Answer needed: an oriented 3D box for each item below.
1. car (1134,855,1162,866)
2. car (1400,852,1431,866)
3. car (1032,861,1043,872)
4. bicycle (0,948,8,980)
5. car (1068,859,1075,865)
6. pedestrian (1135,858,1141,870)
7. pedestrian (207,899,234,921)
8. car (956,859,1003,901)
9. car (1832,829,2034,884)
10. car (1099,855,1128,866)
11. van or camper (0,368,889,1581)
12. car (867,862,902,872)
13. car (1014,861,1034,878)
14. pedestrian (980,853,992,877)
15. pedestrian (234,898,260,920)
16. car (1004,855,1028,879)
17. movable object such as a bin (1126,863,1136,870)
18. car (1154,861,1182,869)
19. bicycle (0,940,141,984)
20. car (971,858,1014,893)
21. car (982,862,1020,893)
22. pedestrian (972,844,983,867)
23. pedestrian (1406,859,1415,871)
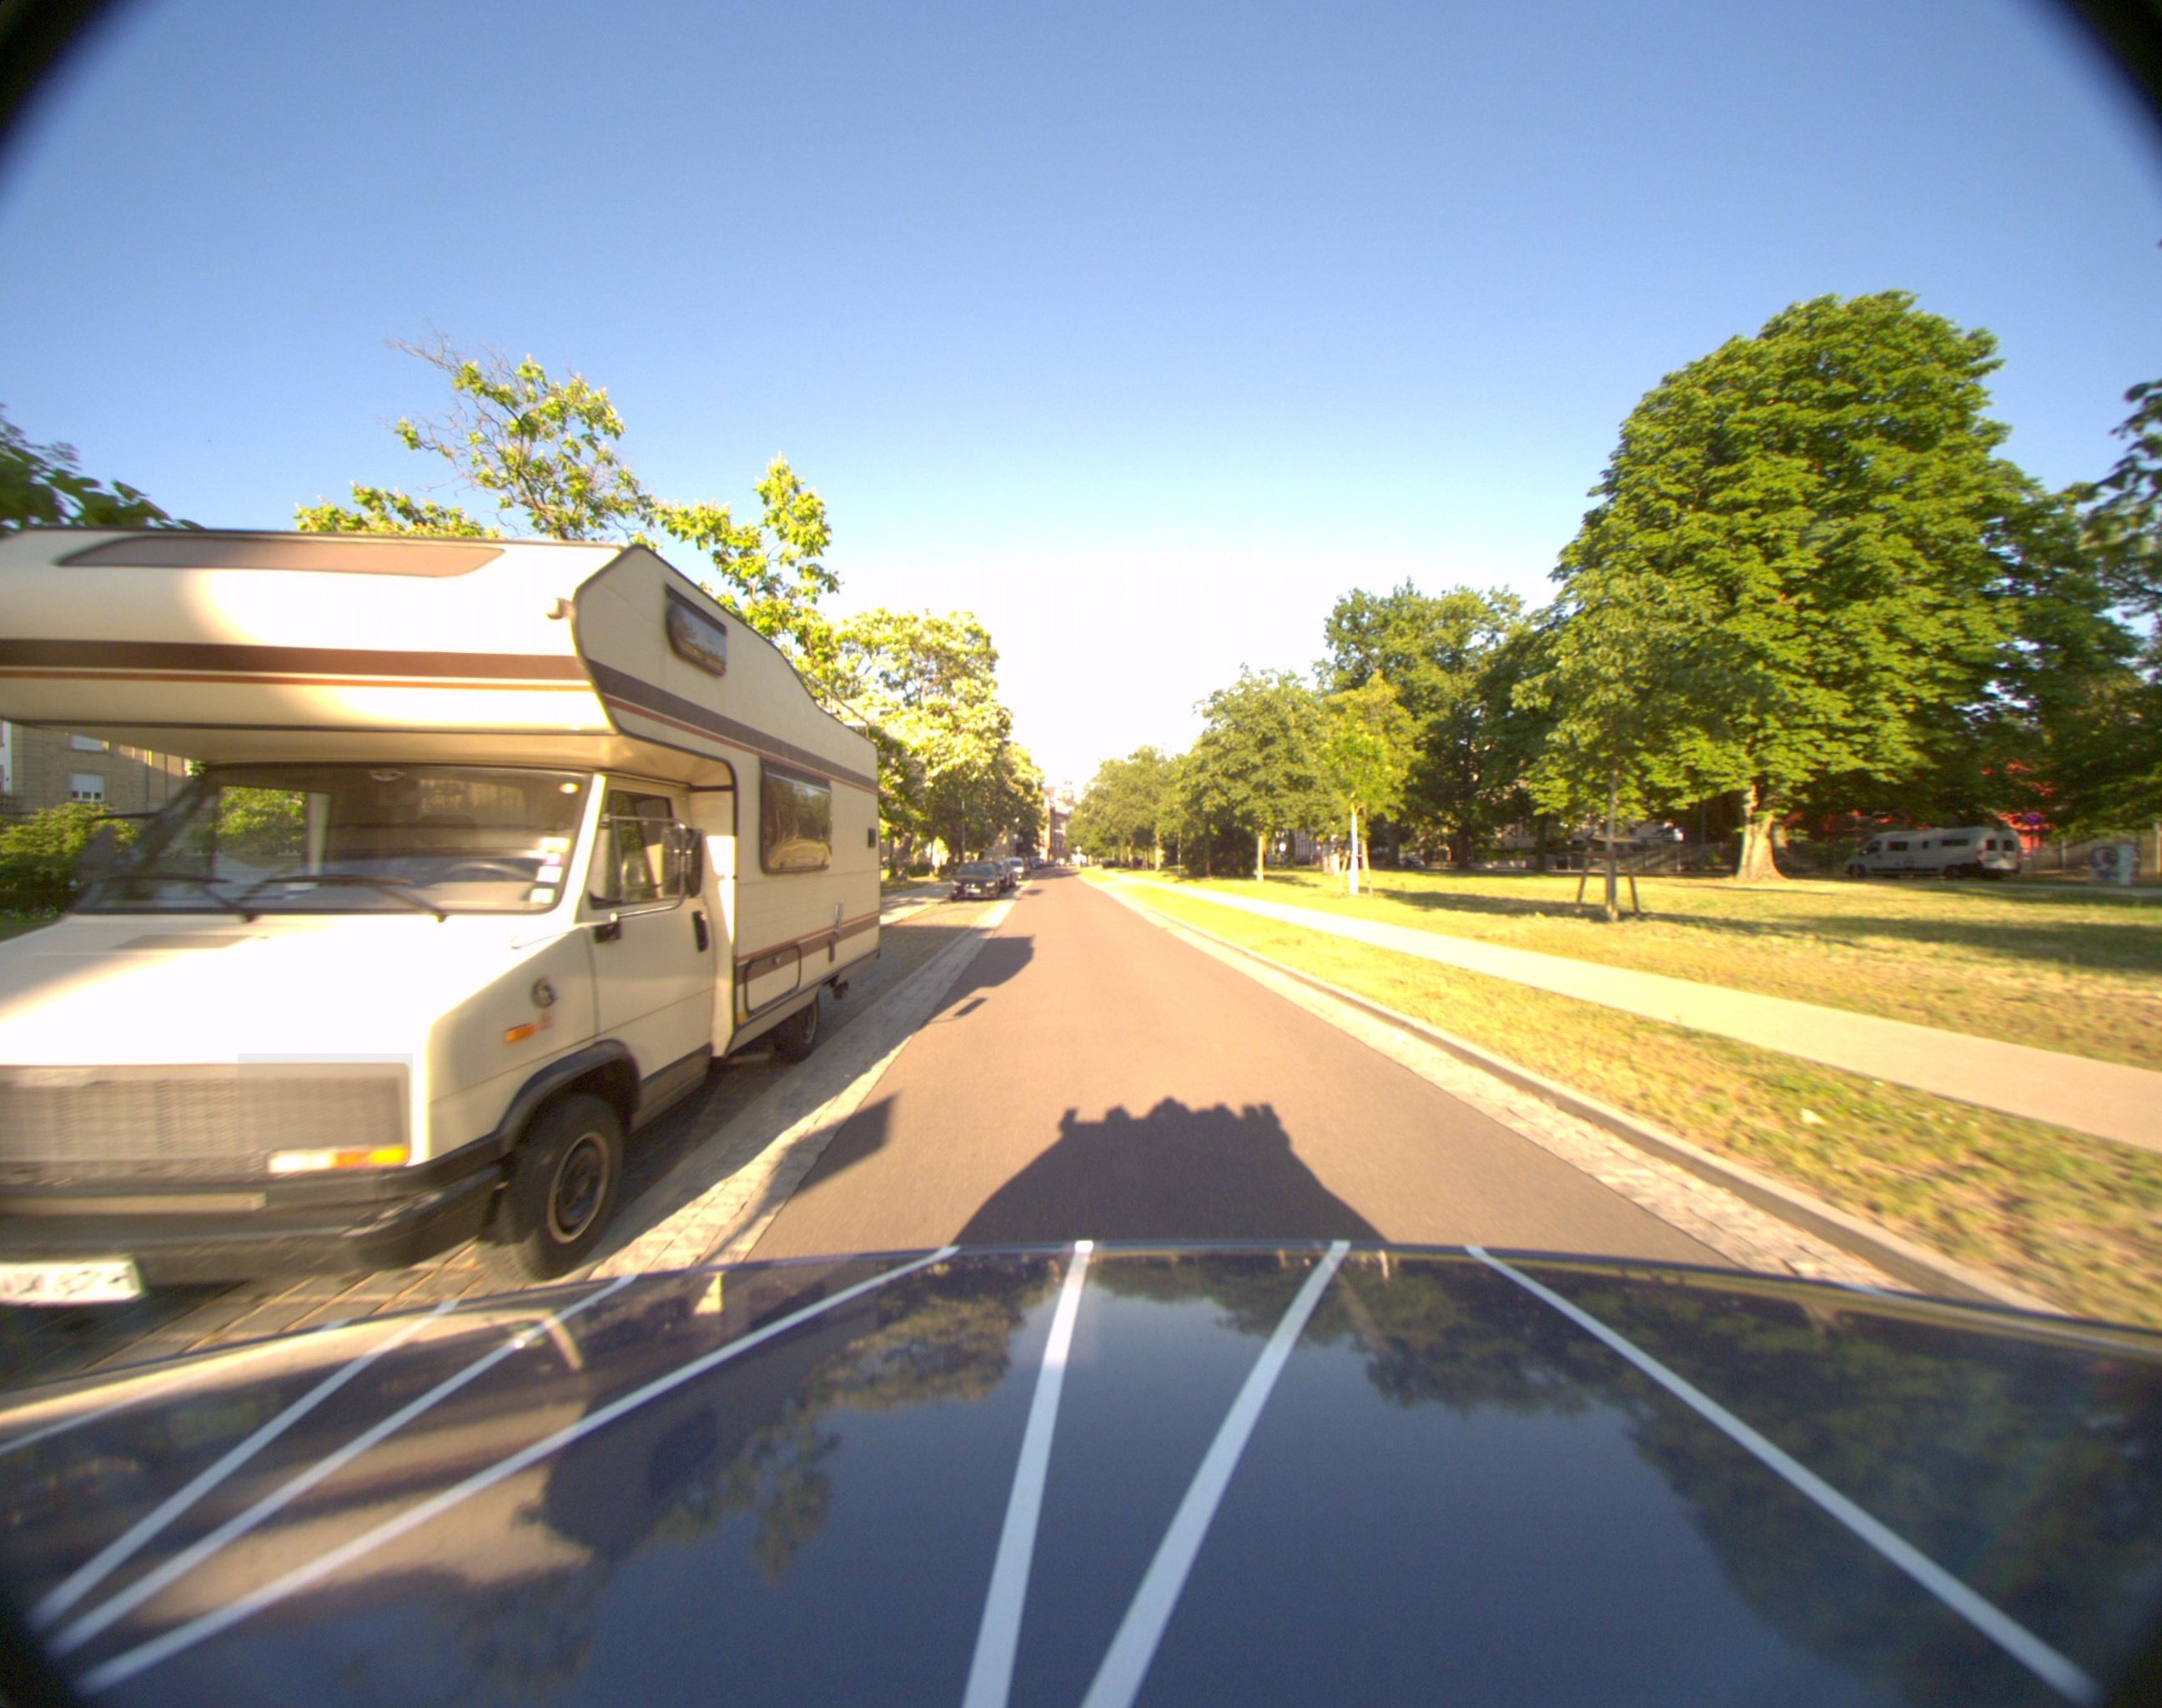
[{"bbox_3d":[10.349,1.019,117.421,4.005,1.565,1.886,-1,2,-27],"label":"car"},{"bbox_3d":[39.718,0.613,90.262,1.999,1.608,3.737,-1,0,-2],"label":"car"},{"bbox_3d":[-7.083,2.049,124.903,1.708,1.616,4.348,2,-1,-2],"label":"car"},{"bbox_3d":[-22.398,2.181,14.519,1.767,0.611,1.815,0,0,22],"label":"bicycle"},{"bbox_3d":[-2.622,2.247,207.890,1.583,1.499,3.848,0,0,5],"label":"car"},{"bbox_3d":[8.012,1.461,106.924,0.663,1.686,0.672,-1,0,0],"label":"pedestrian"},{"bbox_3d":[-33.796,2.190,29.855,0.669,0.789,0.585,0,1,-45],"label":"pedestrian"},{"bbox_3d":[-3.852,0.944,29.359,1.631,1.455,4.247,0,0,-5],"label":"car"},{"bbox_3d":[41.660,0.115,37.512,2.728,2.449,6.316,0,0,-3],"label":"car"},{"bbox_3d":[5.014,0.942,115.568,4.005,1.565,1.886,-1,2,-27],"label":"car"},{"bbox_3d":[-2.897,0.269,4.623,2.240,2.887,5.670,0,1,-3],"label":"van or camper"},{"bbox_3d":[-26.938,1.762,104.133,4.372,1.409,1.842,0,0,-22],"label":"car"},{"bbox_3d":[-5.353,1.417,71.854,1.683,1.477,4.808,0,0,-2],"label":"car"},{"bbox_3d":[-7.031,0.817,56.106,0.755,1.725,0.731,-1,0,-1],"label":"pedestrian"},{"bbox_3d":[-33.296,2.191,30.327,0.669,0.789,0.585,0,1,-45],"label":"pedestrian"},{"bbox_3d":[-4.892,0.946,57.591,1.683,1.729,4.512,0,0,-2],"label":"car"},{"bbox_3d":[7.009,1.800,106.994,1.333,0.984,0.949,0,0,-1],"label":"movable object such as a bin"},{"bbox_3d":[14.321,1.804,125.603,4.282,1.392,1.836,0,0,-24],"label":"car"},{"bbox_3d":[-21.770,2.259,16.146,1.767,0.611,1.815,0,0,22],"label":"bicycle"},{"bbox_3d":[-4.115,0.957,35.936,1.736,1.542,4.421,0,0,-3],"label":"car"},{"bbox_3d":[-4.383,1.265,42.185,1.736,1.542,4.275,0,0,-1],"label":"car"},{"bbox_3d":[-7.855,0.146,57.464,0.727,1.725,0.731,-1,0,-1],"label":"pedestrian"},{"bbox_3d":[26.605,0.894,61.298,0.549,0.981,0.610,0,0,8],"label":"pedestrian"}]
